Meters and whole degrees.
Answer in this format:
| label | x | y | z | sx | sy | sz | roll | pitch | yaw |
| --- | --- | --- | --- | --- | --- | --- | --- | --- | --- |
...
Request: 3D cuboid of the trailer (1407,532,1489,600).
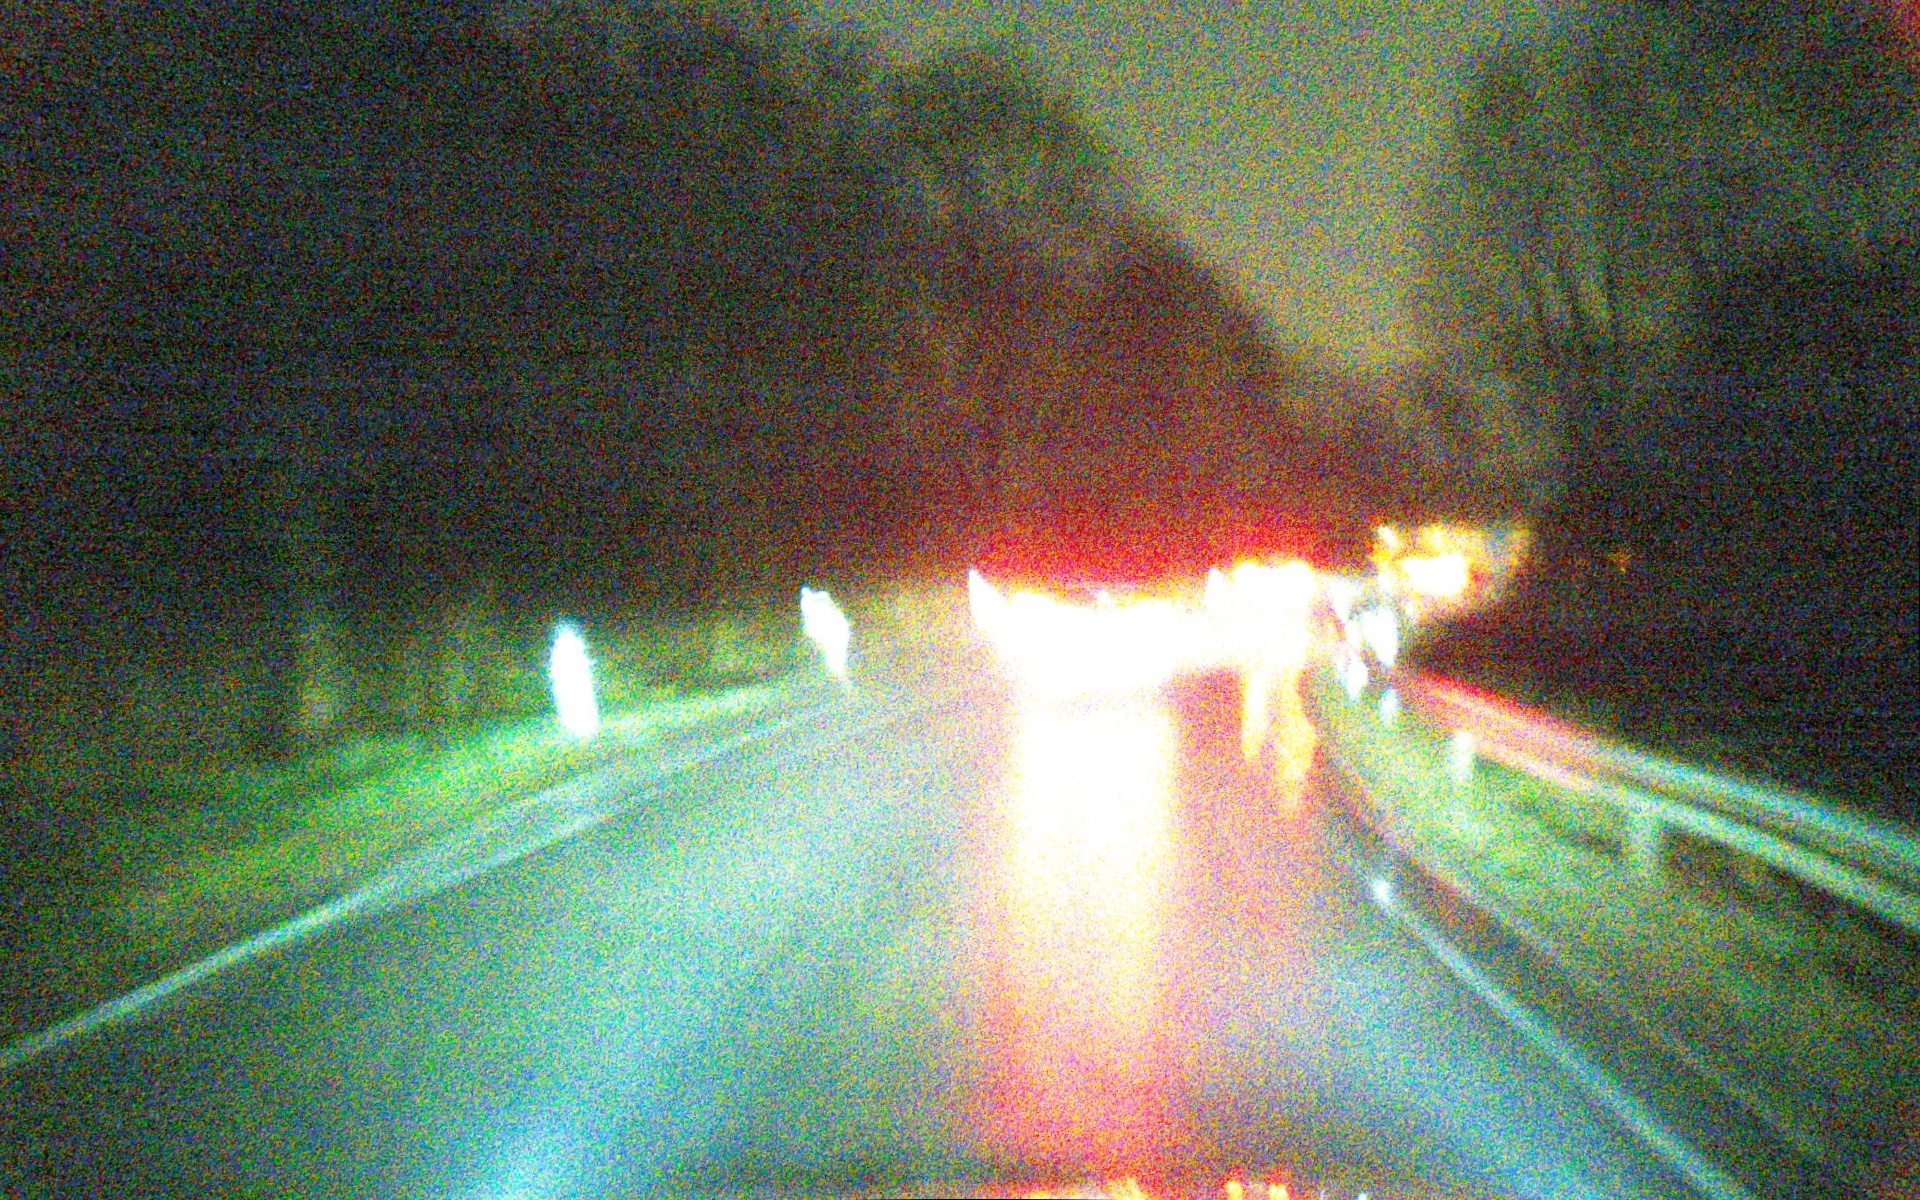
| label | x | y | z | sx | sy | sz | roll | pitch | yaw |
| --- | --- | --- | --- | --- | --- | --- | --- | --- | --- |
| trailer | 18.277 | -1.148 | 61.575 | 2.035 | 2.049 | 10.647 | -3 | -2 | 21 |
